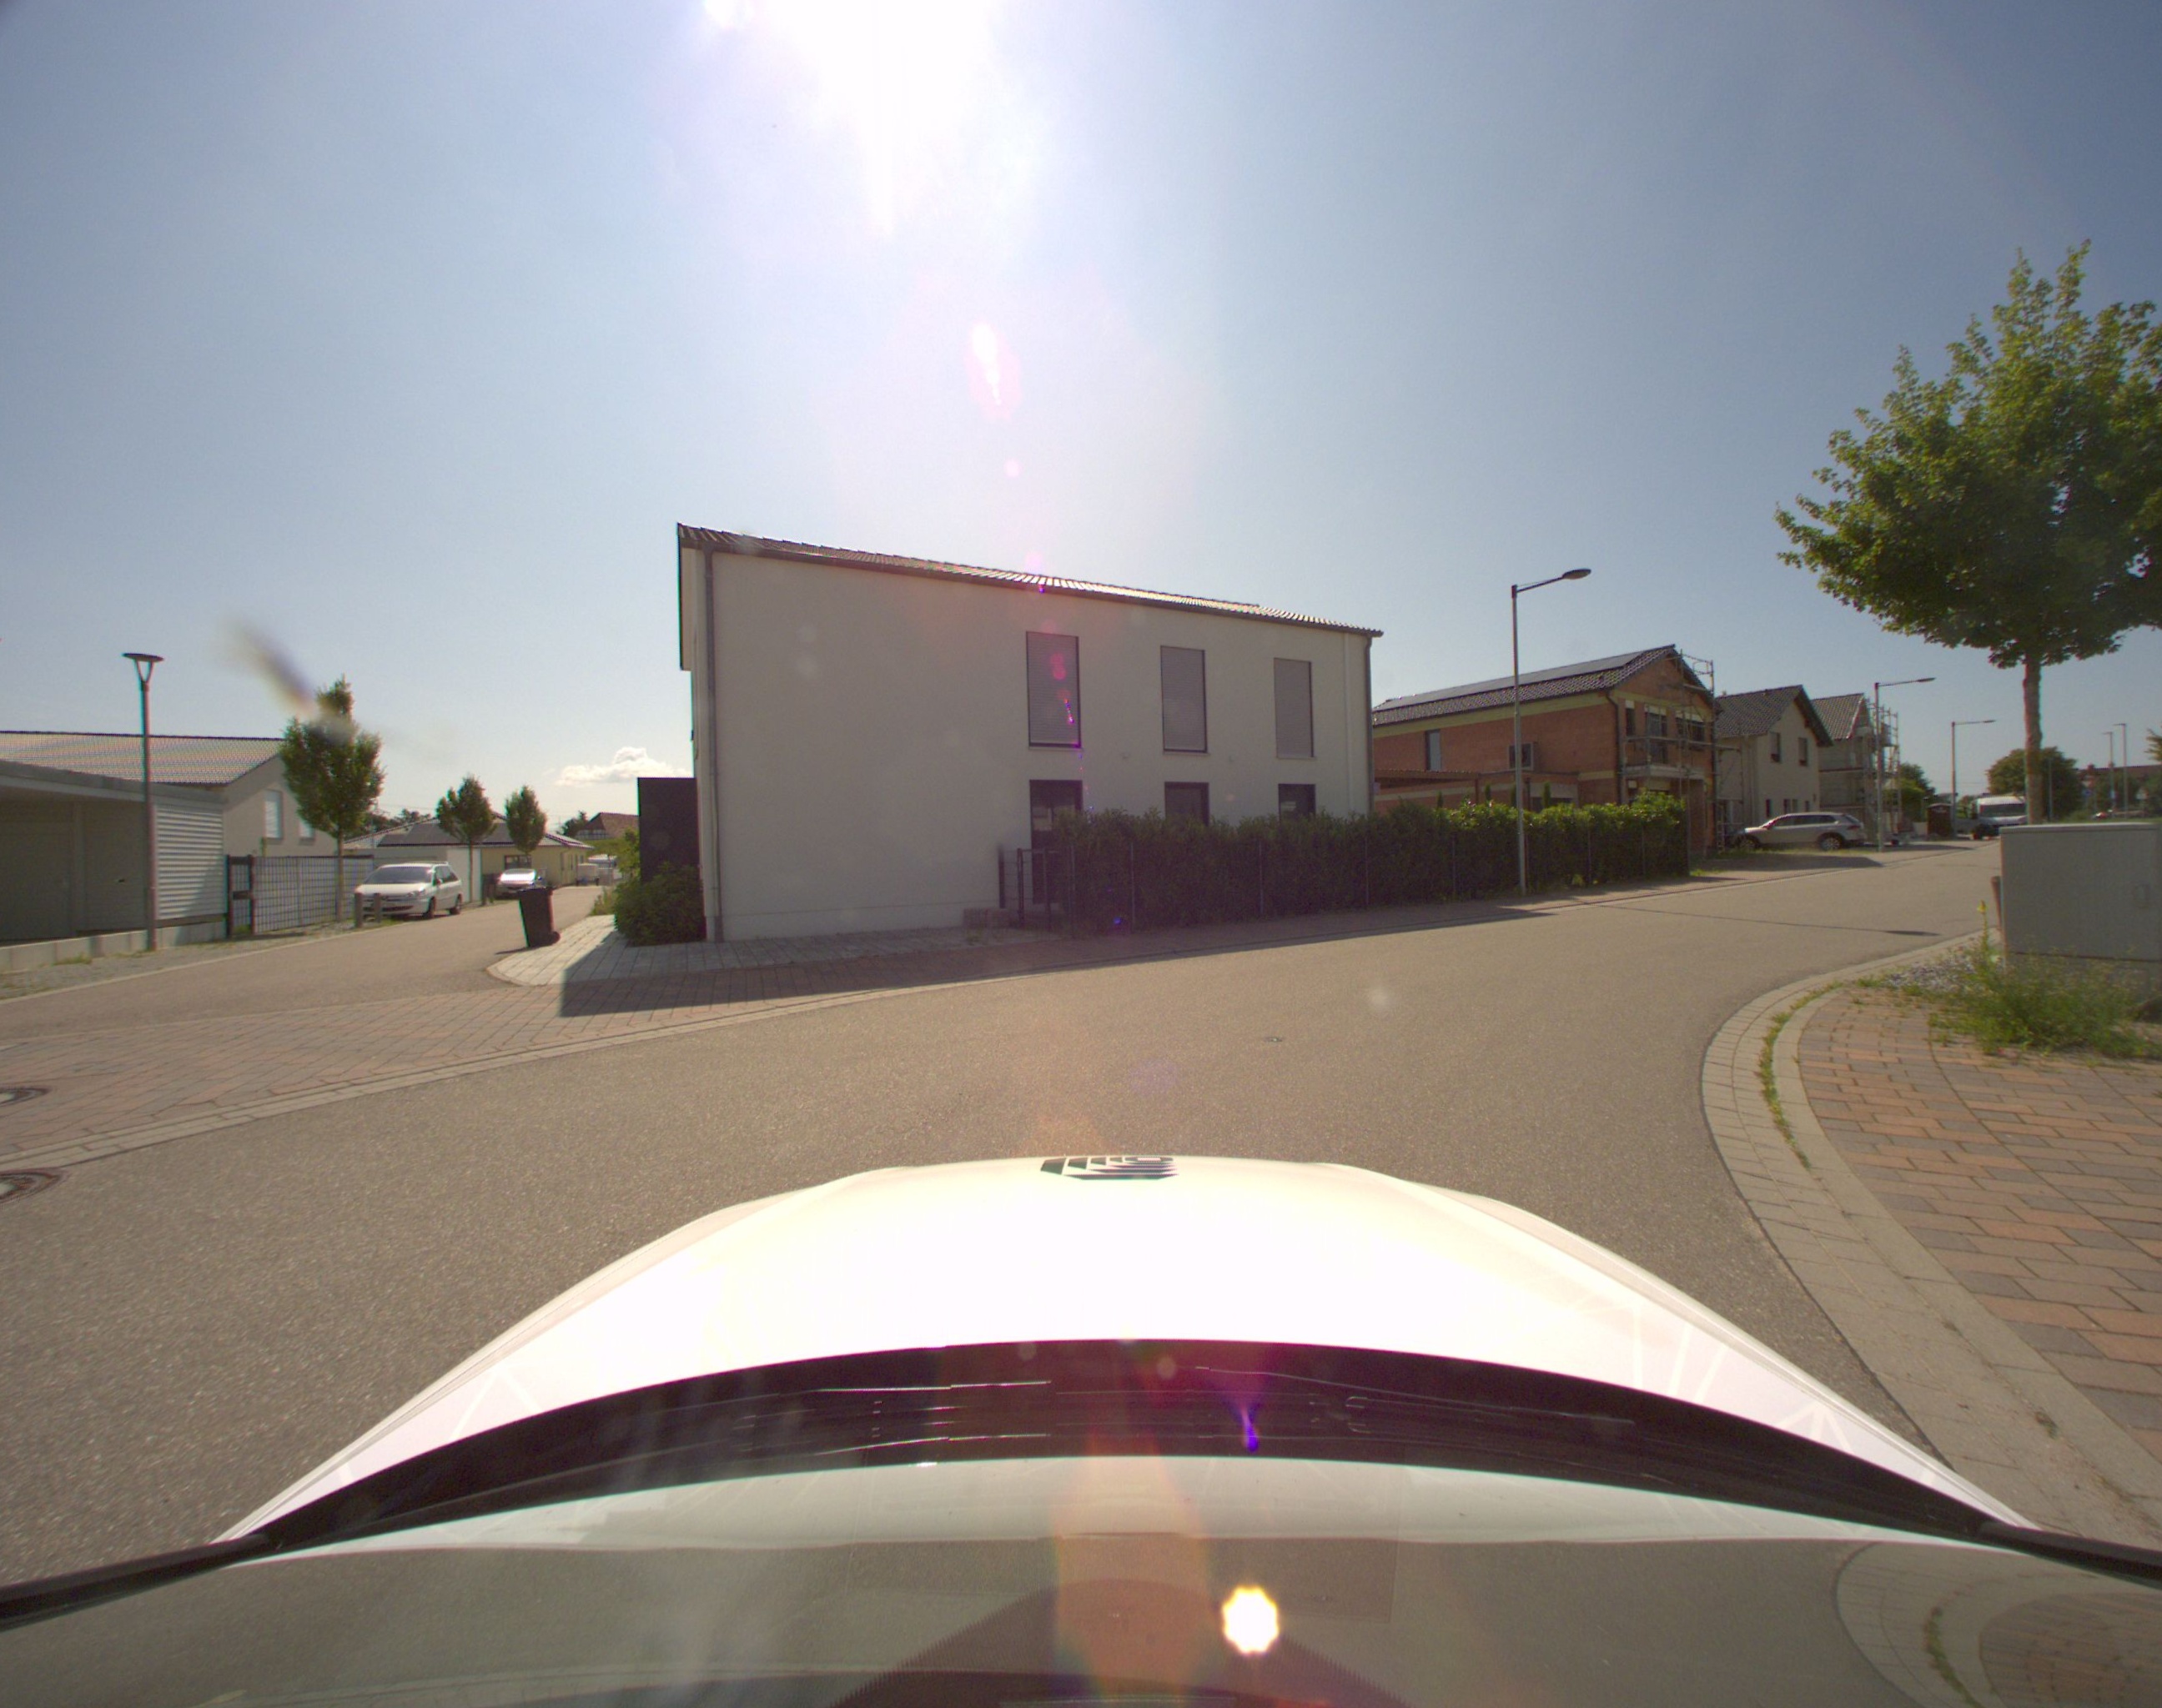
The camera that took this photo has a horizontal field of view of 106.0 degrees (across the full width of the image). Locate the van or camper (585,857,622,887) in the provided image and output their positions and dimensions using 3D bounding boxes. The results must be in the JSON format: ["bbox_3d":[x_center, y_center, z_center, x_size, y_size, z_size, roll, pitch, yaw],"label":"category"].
[{"bbox_3d":[-40.526,1.531,69.278,2.275,2.411,4.804,0,-1,-25],"label":"van or camper"}]

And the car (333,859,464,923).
[{"bbox_3d":[-21.218,1.110,25.566,2.003,1.790,4.608,0,-1,-25],"label":"car"}]

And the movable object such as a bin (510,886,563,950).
[{"bbox_3d":[-8.763,1.011,13.117,0.603,0.948,0.497,-3,1,-26],"label":"movable object such as a bin"}]

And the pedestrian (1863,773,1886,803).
[{"bbox_3d":[46.486,-3.872,47.712,0.741,1.680,0.580,-1,-1,10],"label":"pedestrian"}]

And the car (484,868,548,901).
[{"bbox_3d":[-29.690,1.577,42.923,2.003,1.614,4.447,0,-1,-25],"label":"car"}]

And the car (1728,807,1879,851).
[{"bbox_3d":[30.079,-1.026,34.003,2.010,1.612,4.389,-3,0,-38],"label":"car"}]

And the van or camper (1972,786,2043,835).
[{"bbox_3d":[52.937,-2.421,46.654,6.404,2.553,2.252,-2,0,-44],"label":"van or camper"}]

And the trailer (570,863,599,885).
[{"bbox_3d":[-37.993,1.517,62.377,1.635,1.614,2.540,0,-1,-25],"label":"trailer"}]
